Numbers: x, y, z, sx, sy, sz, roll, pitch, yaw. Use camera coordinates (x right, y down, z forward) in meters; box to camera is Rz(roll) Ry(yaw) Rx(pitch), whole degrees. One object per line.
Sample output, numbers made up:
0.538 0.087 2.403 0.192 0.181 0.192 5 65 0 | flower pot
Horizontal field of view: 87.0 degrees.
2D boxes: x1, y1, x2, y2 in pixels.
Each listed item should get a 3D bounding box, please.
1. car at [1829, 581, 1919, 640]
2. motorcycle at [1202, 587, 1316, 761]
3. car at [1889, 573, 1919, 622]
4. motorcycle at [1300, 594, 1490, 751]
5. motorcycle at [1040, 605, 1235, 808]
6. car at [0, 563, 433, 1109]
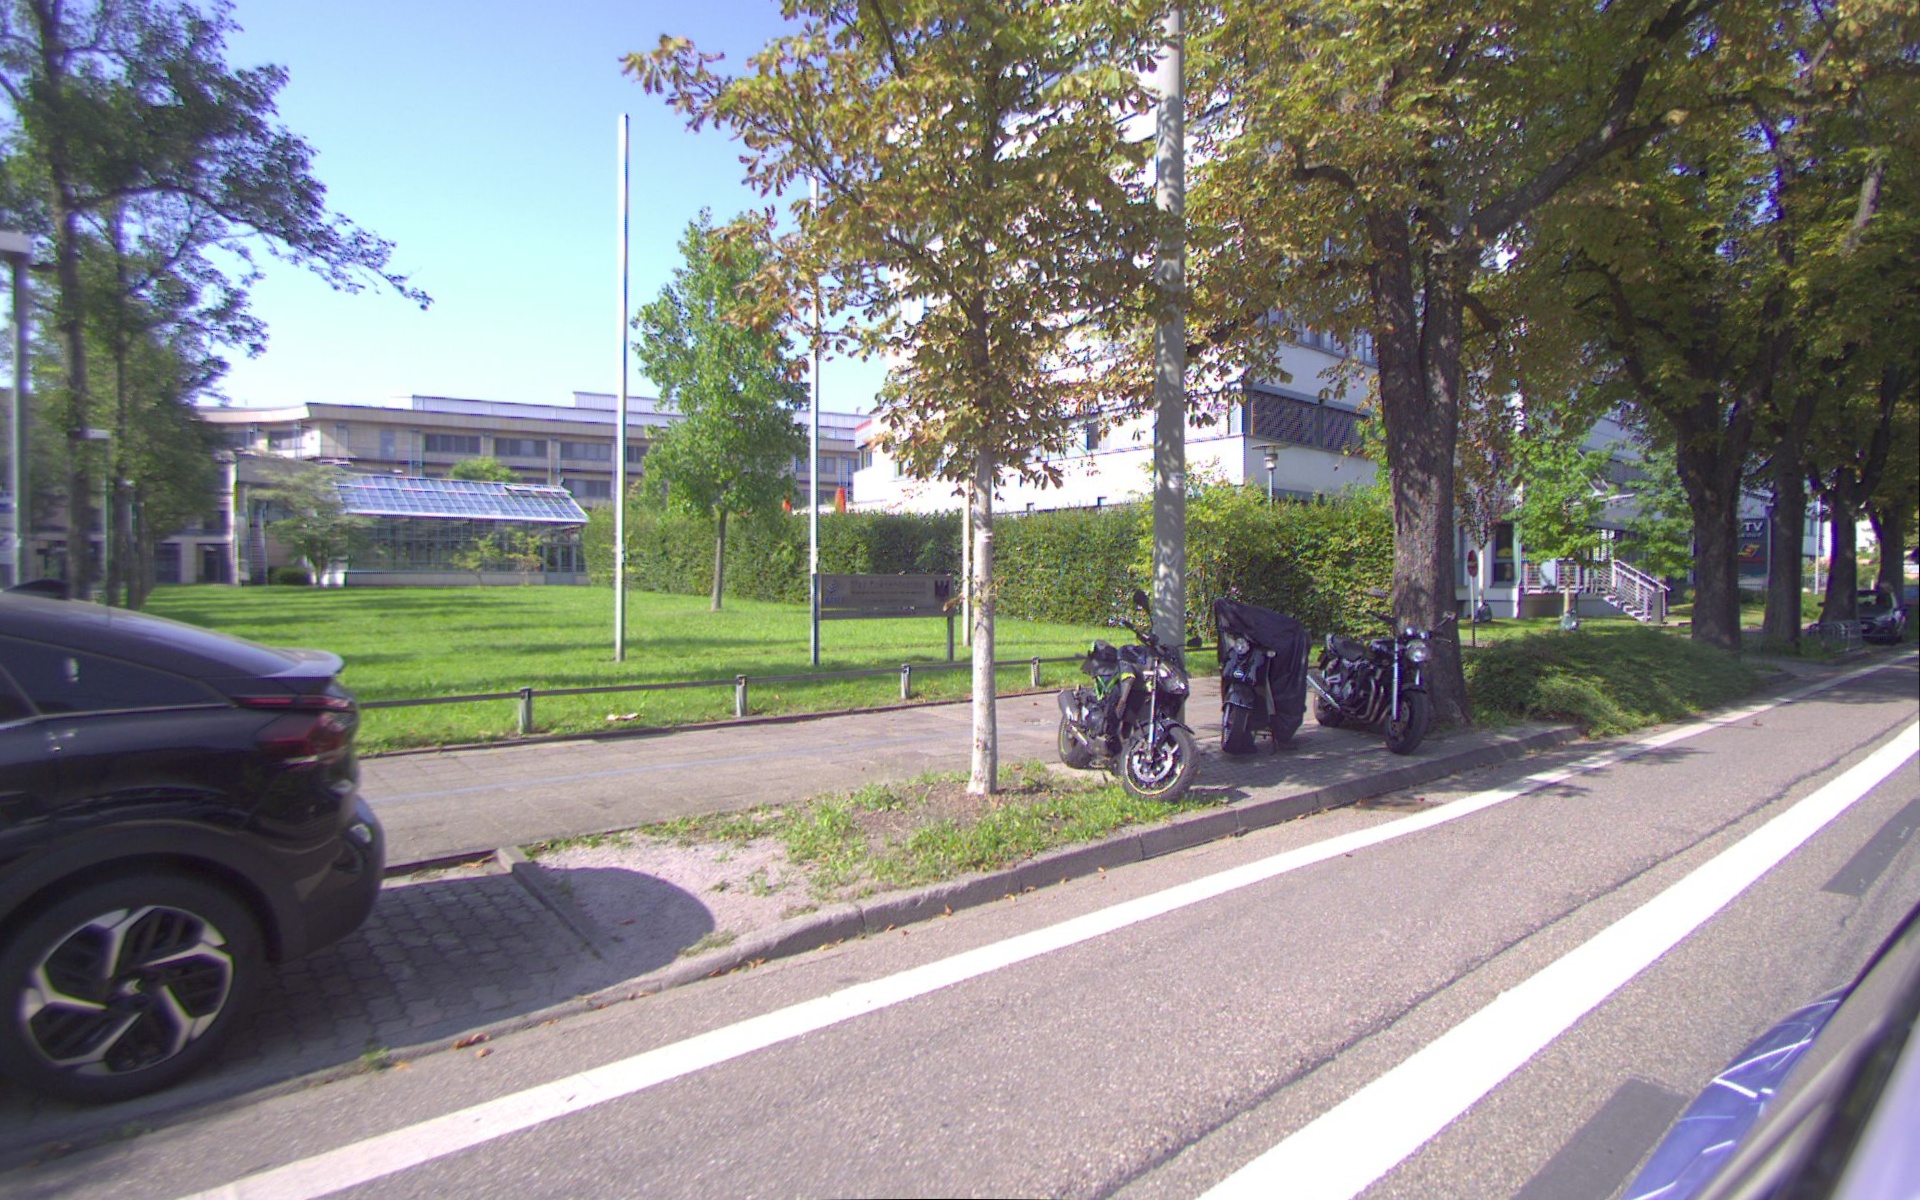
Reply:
25.587 0.244 28.279 3.504 1.459 1.565 -1 4 -43 | car
2.780 0.582 9.247 0.834 1.343 2.053 1 2 21 | motorcycle
34.651 -0.103 36.040 4.112 1.673 1.865 -1 3 -42 | car
4.033 0.609 9.611 0.828 1.258 2.068 1 2 -2 | motorcycle
1.224 0.680 7.457 0.632 1.240 1.993 0 1 -15 | motorcycle
-4.047 0.642 2.745 4.360 1.504 1.744 0 2 -42 | car
